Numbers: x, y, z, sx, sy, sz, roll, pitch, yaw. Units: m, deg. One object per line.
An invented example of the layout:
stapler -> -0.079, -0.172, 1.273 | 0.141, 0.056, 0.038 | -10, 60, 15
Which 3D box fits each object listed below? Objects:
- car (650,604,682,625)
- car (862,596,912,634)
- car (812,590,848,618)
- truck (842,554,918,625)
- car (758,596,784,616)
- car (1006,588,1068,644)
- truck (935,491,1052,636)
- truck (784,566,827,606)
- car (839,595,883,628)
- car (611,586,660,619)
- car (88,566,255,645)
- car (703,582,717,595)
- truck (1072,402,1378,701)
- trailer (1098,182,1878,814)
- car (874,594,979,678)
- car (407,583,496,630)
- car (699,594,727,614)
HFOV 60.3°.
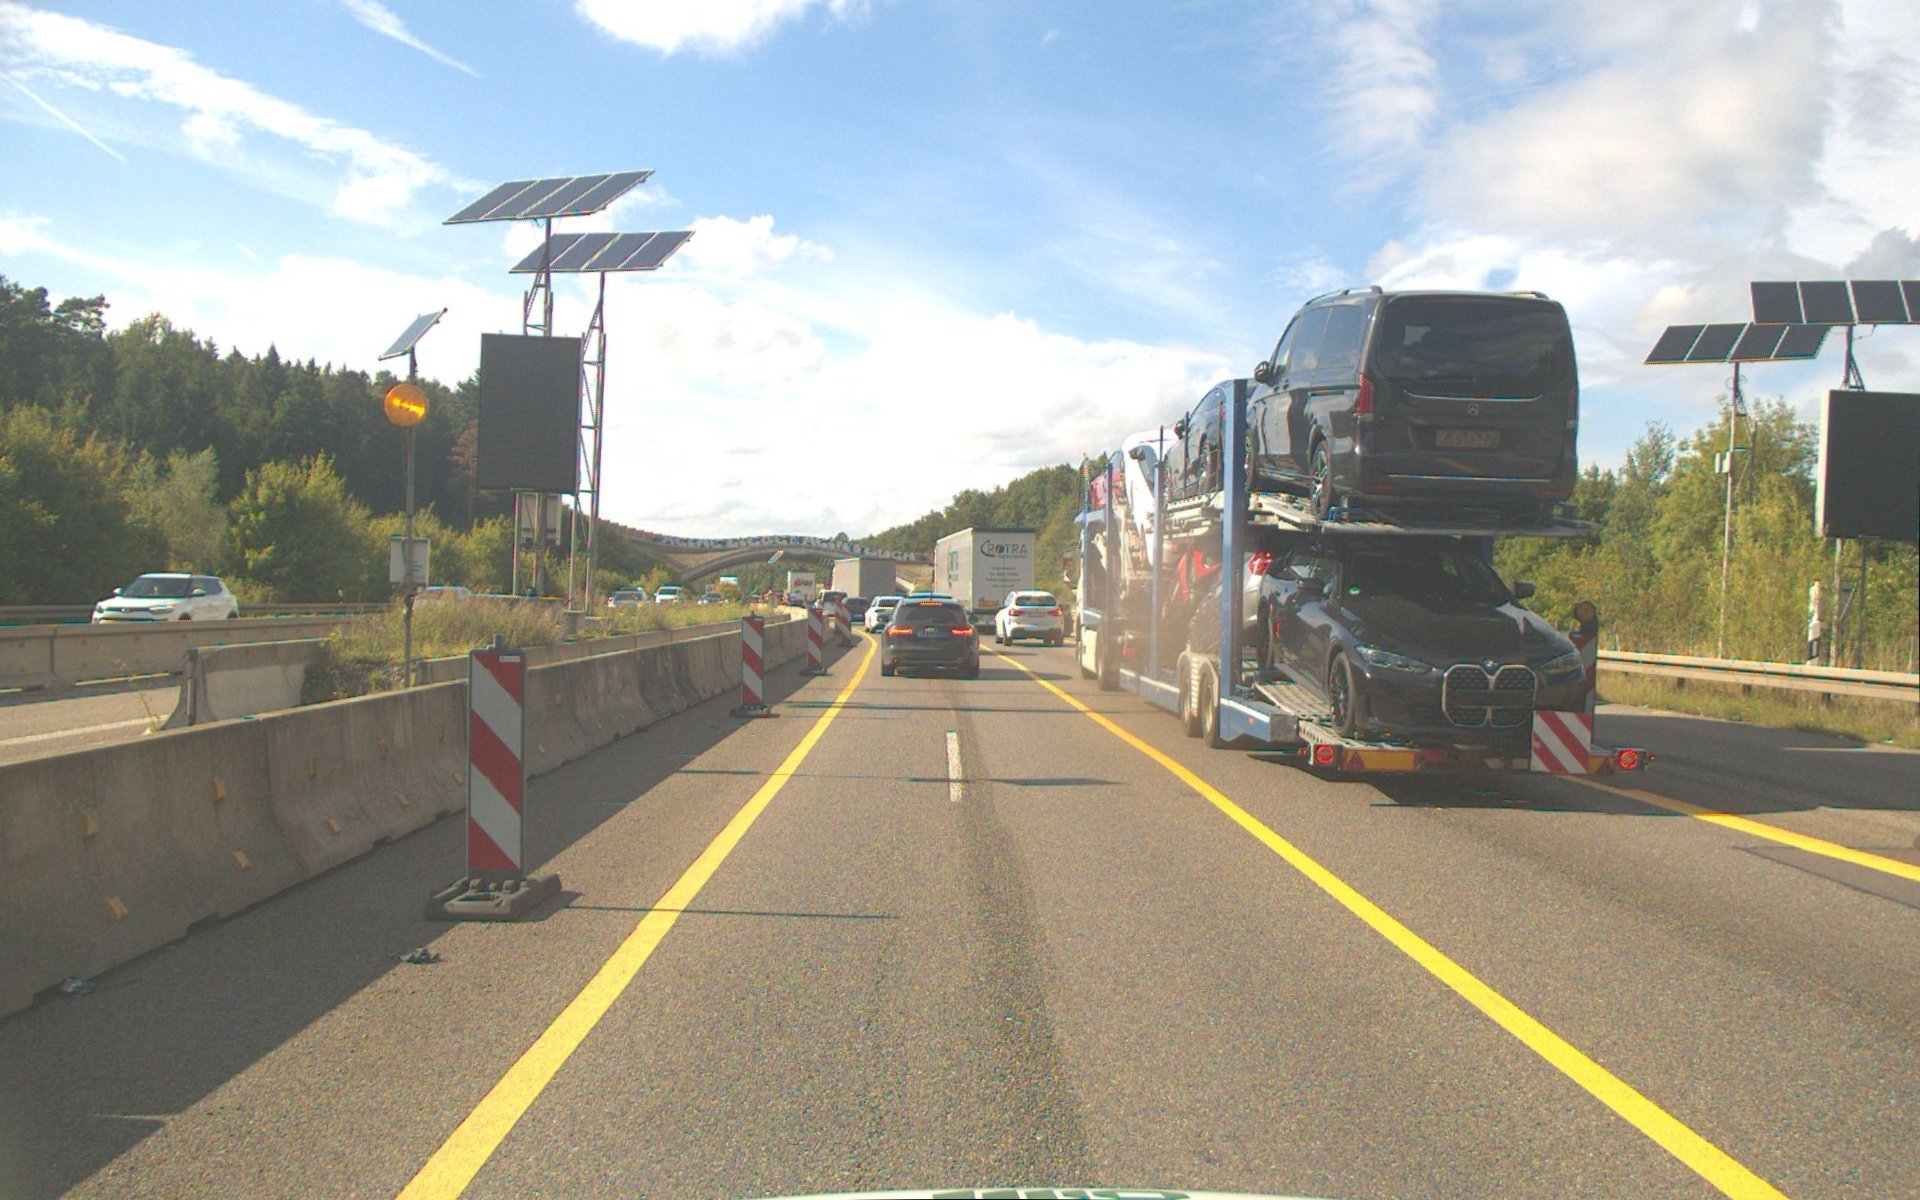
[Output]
car -> -23.958, 1.180, 134.854 | 1.929, 1.630, 4.945 | 1, 0, -2
car -> -2.970, 0.585, 66.522 | 1.853, 1.472, 3.996 | 1, 0, -5
car -> -7.942, 0.226, 100.726 | 1.855, 1.672, 4.009 | 1, 0, -9
truck -> -5.693, -0.692, 115.743 | 4.239, 4.681, 11.103 | 1, 0, -8
car -> -16.078, 0.512, 140.633 | 1.747, 1.630, 4.004 | 1, 0, -13
car -> 2.382, 0.492, 52.008 | 1.851, 1.672, 4.018 | 1, 0, 1
truck -> 1.161, -1.404, 71.348 | 3.605, 5.447, 16.188 | 1, 0, -4
truck -> -16.175, -1.428, 172.275 | 3.587, 3.997, 11.043 | 1, 0, -9
car -> -5.284, 0.588, 87.744 | 1.856, 1.672, 4.008 | 1, 0, -10
car -> -16.673, 0.136, 85.260 | 1.742, 1.630, 4.674 | 1, 0, -2
car -> -17.496, 0.114, 36.897 | 1.741, 1.630, 4.018 | 1, 0, 1
car -> -36.884, -1.642, 244.187 | 1.745, 1.899, 3.997 | 1, 0, -4
truck -> 4.106, -0.700, 27.914 | 3.685, 4.269, 7.949 | 1, 0, -1
trailer -> 4.310, -0.695, 19.452 | 3.651, 4.269, 16.223 | 1, 0, -1
car -> -0.581, 0.635, 31.601 | 1.851, 1.472, 4.000 | 1, 0, 1
car -> -18.636, 0.223, 60.825 | 1.741, 1.630, 4.677 | 1, 0, 1
car -> -21.917, 0.349, 146.922 | 1.929, 1.630, 4.945 | 1, 0, -2
